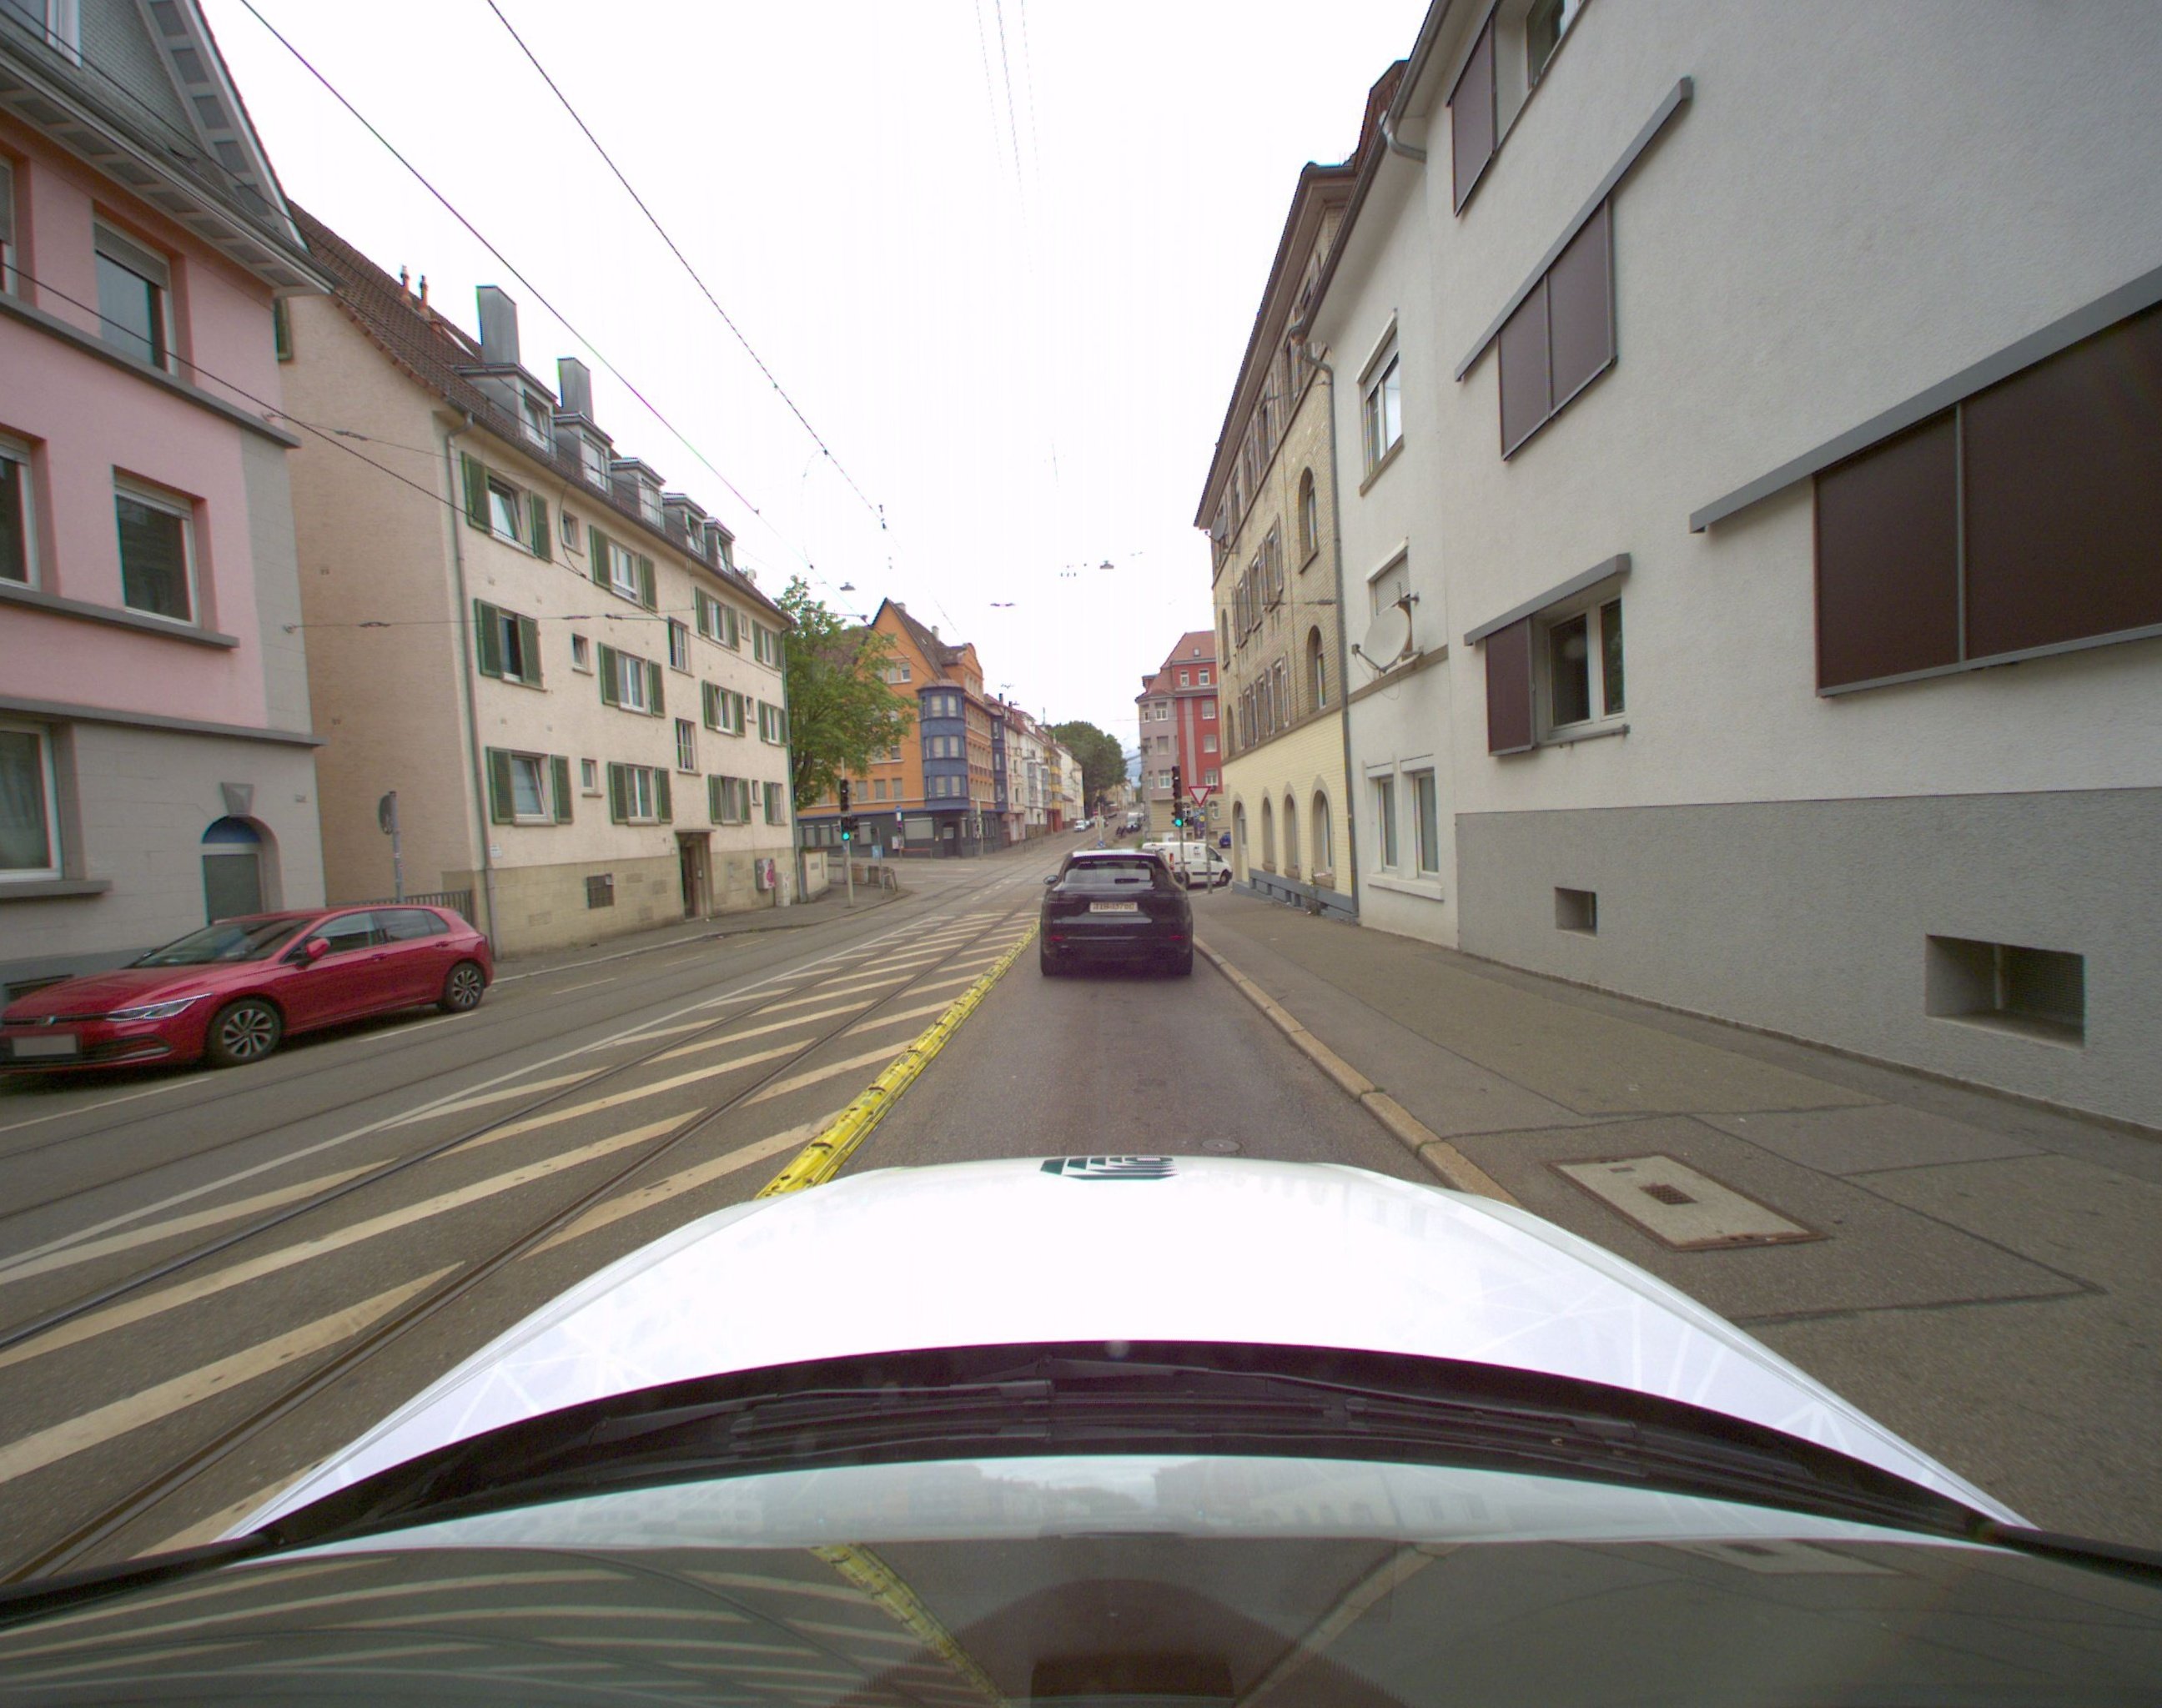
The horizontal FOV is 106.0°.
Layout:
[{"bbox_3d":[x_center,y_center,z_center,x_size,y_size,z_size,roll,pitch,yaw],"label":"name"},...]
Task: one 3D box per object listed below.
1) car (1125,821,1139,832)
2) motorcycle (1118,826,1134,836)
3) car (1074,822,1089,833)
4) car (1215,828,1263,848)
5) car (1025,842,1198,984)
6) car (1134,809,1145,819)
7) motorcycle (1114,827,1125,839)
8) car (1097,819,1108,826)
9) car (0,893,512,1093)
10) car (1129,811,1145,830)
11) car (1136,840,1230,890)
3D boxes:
[{"bbox_3d":[7.639,-4.151,121.473,1.831,1.568,3.827,0,3,6],"label":"car"},{"bbox_3d":[5.976,-3.063,108.277,2.173,1.326,0.698,-1,2,-5],"label":"motorcycle"},{"bbox_3d":[0.079,-4.371,133.732,1.983,1.692,4.008,0,3,6],"label":"car"},{"bbox_3d":[13.904,-1.451,71.535,4.163,1.534,1.896,-5,5,-40],"label":"car"},{"bbox_3d":[0.664,0.664,11.939,2.012,1.641,4.367,0,1,9],"label":"car"},{"bbox_3d":[13.537,-9.242,188.020,2.255,2.183,4.779,0,3,6],"label":"car"},{"bbox_3d":[4.626,-2.537,97.811,0.858,1.326,2.182,-7,3,-3],"label":"motorcycle"},{"bbox_3d":[3.933,-5.719,148.247,1.677,1.326,3.670,0,3,6],"label":"car"},{"bbox_3d":[-8.785,1.299,9.032,1.778,1.438,4.263,-4,-1,2],"label":"car"},{"bbox_3d":[8.703,-5.257,127.036,2.255,2.889,4.779,0,3,6],"label":"car"},{"bbox_3d":[4.349,0.383,34.223,1.847,1.883,4.312,1,2,41],"label":"car"}]
